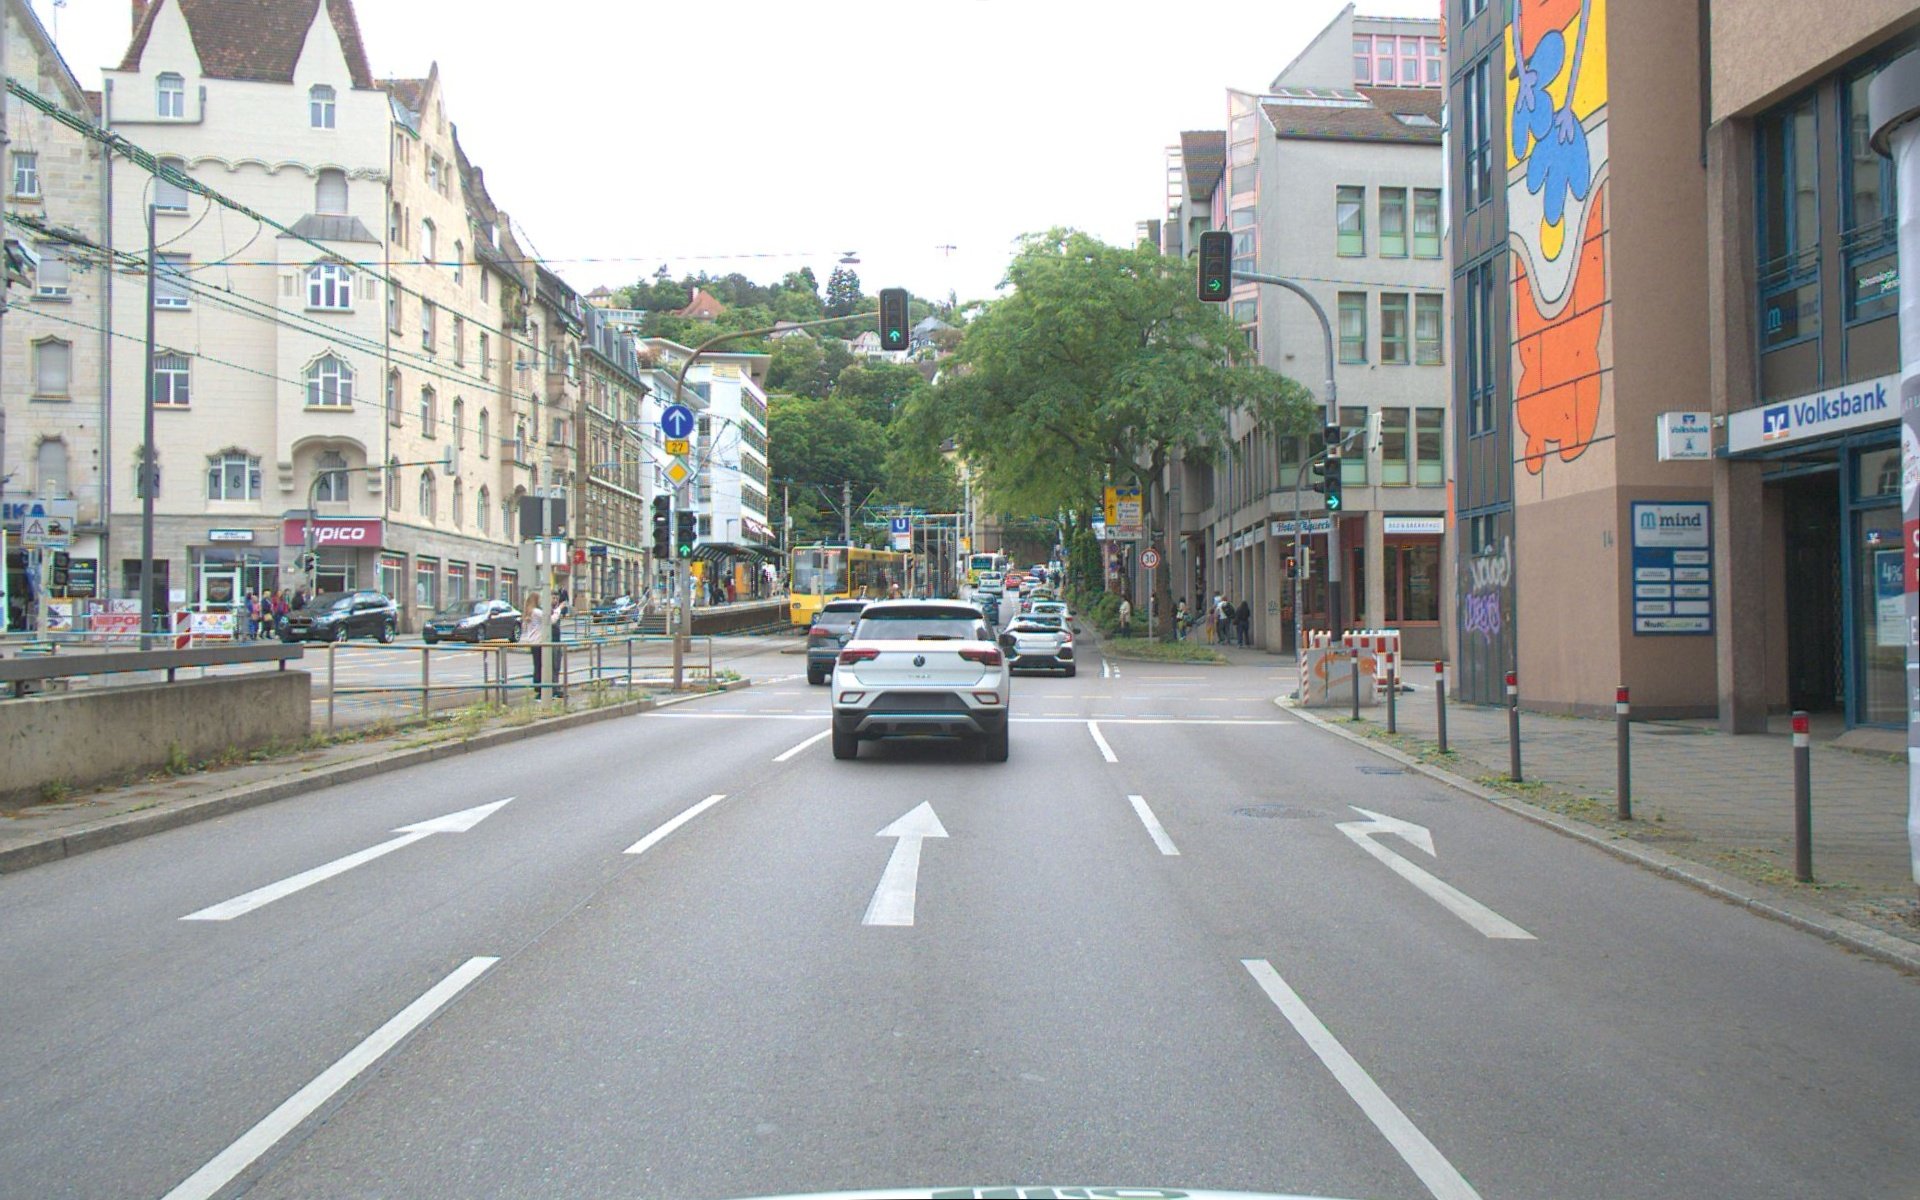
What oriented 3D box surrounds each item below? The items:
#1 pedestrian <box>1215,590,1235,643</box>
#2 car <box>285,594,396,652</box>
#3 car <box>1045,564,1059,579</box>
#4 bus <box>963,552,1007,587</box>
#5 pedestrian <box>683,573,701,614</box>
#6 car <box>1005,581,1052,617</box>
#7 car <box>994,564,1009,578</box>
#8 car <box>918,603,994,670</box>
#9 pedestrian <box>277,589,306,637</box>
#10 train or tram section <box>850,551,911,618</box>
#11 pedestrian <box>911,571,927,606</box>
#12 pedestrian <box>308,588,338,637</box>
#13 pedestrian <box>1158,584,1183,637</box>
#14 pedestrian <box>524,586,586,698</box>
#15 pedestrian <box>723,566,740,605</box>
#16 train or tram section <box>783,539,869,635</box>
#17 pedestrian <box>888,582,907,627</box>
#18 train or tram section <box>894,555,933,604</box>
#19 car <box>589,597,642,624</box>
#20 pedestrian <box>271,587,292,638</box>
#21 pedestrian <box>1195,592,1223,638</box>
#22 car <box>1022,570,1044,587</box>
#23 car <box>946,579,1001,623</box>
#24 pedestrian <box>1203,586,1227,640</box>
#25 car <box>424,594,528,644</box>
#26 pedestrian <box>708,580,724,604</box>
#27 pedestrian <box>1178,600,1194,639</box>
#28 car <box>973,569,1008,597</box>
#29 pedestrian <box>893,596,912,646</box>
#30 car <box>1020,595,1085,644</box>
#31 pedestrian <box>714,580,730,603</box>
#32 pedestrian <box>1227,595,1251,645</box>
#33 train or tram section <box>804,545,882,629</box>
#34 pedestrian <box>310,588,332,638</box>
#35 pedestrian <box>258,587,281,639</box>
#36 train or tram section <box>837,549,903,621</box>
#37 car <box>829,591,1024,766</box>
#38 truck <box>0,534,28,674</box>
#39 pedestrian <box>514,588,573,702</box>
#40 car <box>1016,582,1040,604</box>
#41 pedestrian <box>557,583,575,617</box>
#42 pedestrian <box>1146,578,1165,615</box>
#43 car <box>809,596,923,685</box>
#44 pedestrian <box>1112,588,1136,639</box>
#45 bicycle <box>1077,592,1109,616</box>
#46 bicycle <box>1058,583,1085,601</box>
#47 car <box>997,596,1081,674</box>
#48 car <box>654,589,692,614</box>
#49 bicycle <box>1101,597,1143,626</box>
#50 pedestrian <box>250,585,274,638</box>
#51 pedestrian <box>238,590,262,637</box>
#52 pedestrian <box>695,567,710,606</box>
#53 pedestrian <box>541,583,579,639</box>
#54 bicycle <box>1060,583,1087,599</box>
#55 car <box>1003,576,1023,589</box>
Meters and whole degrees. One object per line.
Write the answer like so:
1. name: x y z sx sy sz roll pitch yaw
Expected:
1. pedestrian: 9.202 0.561 57.447 0.508 1.820 0.764 1 -1 -2
2. car: -20.115 0.723 53.913 1.638 1.790 4.783 1 0 2
3. car: 10.757 -3.338 193.665 1.639 1.588 3.679 1 0 2
4. bus: 2.583 -2.967 165.052 3.300 3.118 13.333 1 0 6
5. pedestrian: -11.478 -0.276 70.798 0.673 1.741 0.662 0 1 1
6. car: 3.968 -0.046 96.926 2.317 2.049 5.145 1 0 -3
7. car: 5.047 -3.534 200.677 1.639 1.588 3.987 1 0 2
8. car: -0.074 1.032 48.449 1.872 1.719 4.003 1 2 4
9. pedestrian: -24.447 0.472 60.483 0.765 1.735 0.654 0 0 8
10. train or tram section: -4.355 -0.874 91.556 2.776 3.582 5.754 1 1 3
11. pedestrian: -2.057 -0.587 83.418 0.702 1.761 0.671 1 -1 3
12. pedestrian: -22.949 0.439 59.592 0.765 1.735 0.724 0 0 8
13. pedestrian: 7.476 0.371 58.681 0.706 1.834 0.834 -2 2 -2
14. pedestrian: -6.453 0.660 26.380 0.775 1.751 0.773 0 0 2
15. pedestrian: -10.549 -0.667 76.321 0.613 1.793 0.847 0 0 3
16. train or tram section: -5.459 -0.558 68.509 2.776 3.743 5.754 1 1 3
17. pedestrian: -2.406 0.164 63.457 0.671 1.741 0.712 0 1 2
18. train or tram section: -3.653 -1.655 131.386 2.755 3.730 6.753 1 1 1
19. car: -17.915 0.529 86.242 1.597 1.399 3.786 0 0 6
20. pedestrian: -24.128 0.455 58.815 0.499 1.811 0.577 0 0 4
21. pedestrian: 8.630 0.518 57.422 0.819 1.590 0.764 1 -1 -2
22. car: 7.826 -2.266 176.194 1.844 1.713 4.164 1 0 9
23. car: 0.708 0.055 80.187 2.315 2.049 5.150 1 0 4
24. pedestrian: 8.965 0.454 58.261 0.719 1.907 0.733 0 0 -2
25. car: -16.010 0.599 54.971 1.621 1.579 4.539 0 0 7
26. pedestrian: -11.513 -0.380 77.928 0.622 1.127 0.690 0 1 2
27. pedestrian: 7.877 0.676 57.727 0.461 1.357 0.519 1 -1 -2
28. car: 2.429 -1.278 128.786 2.315 2.049 5.151 1 0 5
29. pedestrian: -2.036 0.734 59.017 0.622 1.741 0.872 0 1 2
30. car: 3.411 0.707 61.667 1.848 1.713 4.157 1 0 -4
31. pedestrian: -11.434 -0.405 79.493 0.622 1.127 0.690 0 1 2
32. pedestrian: 9.417 0.672 55.798 0.745 1.640 0.619 -1 3 14
33. train or tram section: -5.194 -0.605 74.272 2.776 3.582 5.754 1 1 3
34. pedestrian: -23.004 0.462 59.562 0.501 1.811 0.575 0 0 33
35. pedestrian: -24.281 0.442 58.152 0.499 1.811 0.577 0 0 9
36. train or tram section: -4.628 -0.801 85.800 2.776 3.582 5.754 1 1 3
37. car: -0.385 0.741 17.552 1.800 1.611 4.155 1 0 -2
38. truck: -22.820 0.058 34.150 2.218 3.130 7.379 1 0 7
39. pedestrian: -6.478 0.687 25.737 0.748 1.751 0.637 0 0 2
40. car: 5.330 -0.535 130.115 1.845 1.713 4.162 1 0 2
41. pedestrian: -21.133 0.008 88.707 0.623 1.793 0.834 0 0 -40
42. pedestrian: 9.810 -0.173 83.001 0.747 1.813 0.848 -2 2 -3
43. car: -1.820 0.797 33.296 1.952 1.664 4.000 0 -1 1
44. pedestrian: 5.944 0.492 59.995 0.679 1.808 0.689 -4 0 -2
45. bicycle: 6.913 0.207 85.885 1.586 1.147 0.614 -2 0 6
46. bicycle: 7.953 -0.573 117.851 1.841 1.288 0.765 1 0 13
47. car: 1.842 0.795 39.162 1.846 1.713 4.162 1 0 2
48. car: -17.783 0.097 102.611 1.526 1.550 3.602 1 0 4
49. bicycle: 6.907 0.489 70.572 1.674 1.204 0.448 -2 0 -5
50. pedestrian: -24.277 0.396 57.534 0.563 1.811 0.512 0 0 7
51. pedestrian: -24.329 0.462 56.686 0.563 1.610 0.511 0 0 3
52. pedestrian: -11.659 -0.623 74.962 0.623 1.741 0.689 0 1 -7
53. pedestrian: -12.681 0.345 52.491 0.859 1.735 0.810 0 0 31
54. bicycle: 8.179 -0.661 119.336 1.841 1.157 0.809 1 0 8
55. car: 5.019 -1.647 155.731 1.548 1.193 3.681 1 0 7
